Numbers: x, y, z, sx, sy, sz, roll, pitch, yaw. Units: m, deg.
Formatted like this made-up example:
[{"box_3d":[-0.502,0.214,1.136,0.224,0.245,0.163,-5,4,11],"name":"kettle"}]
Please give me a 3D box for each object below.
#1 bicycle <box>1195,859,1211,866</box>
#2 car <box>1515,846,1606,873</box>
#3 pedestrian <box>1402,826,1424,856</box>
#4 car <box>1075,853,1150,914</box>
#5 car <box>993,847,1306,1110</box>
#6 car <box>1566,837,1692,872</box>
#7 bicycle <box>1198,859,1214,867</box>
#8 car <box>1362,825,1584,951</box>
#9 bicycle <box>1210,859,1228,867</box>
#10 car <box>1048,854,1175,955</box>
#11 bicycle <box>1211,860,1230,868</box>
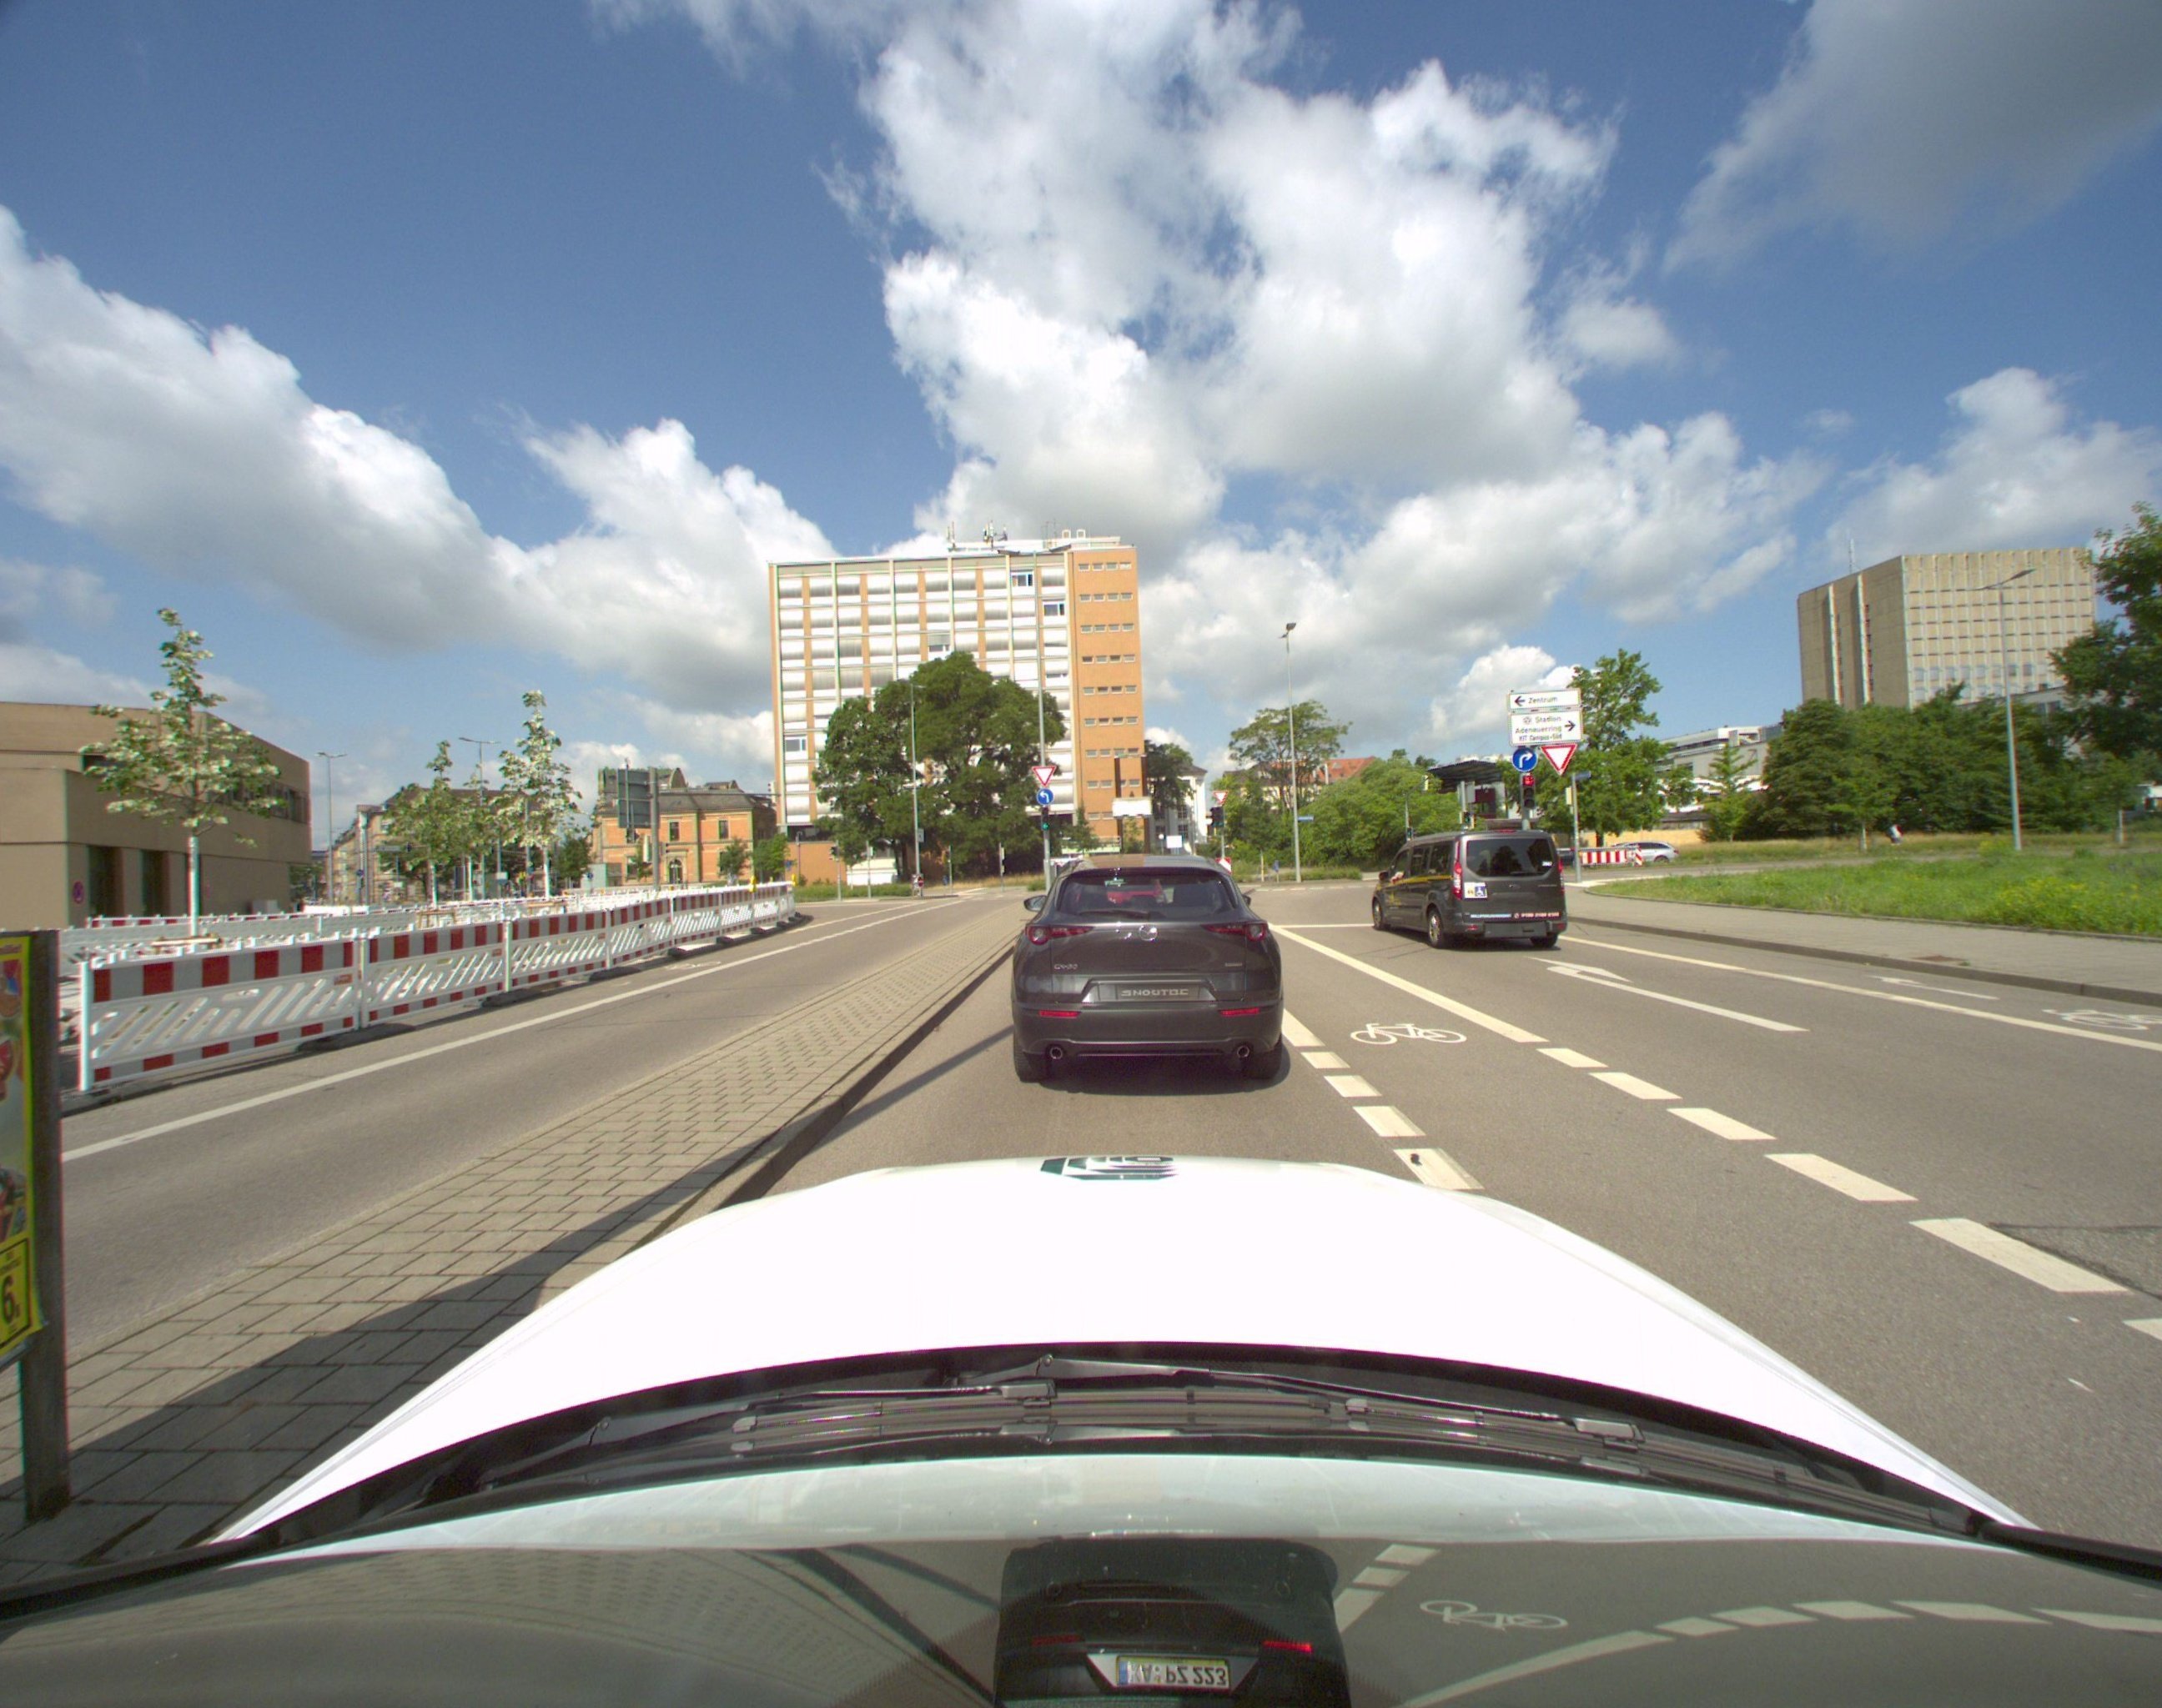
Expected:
[{"box_3d":[17.255,1.241,115.183,2.048,0.936,0.804,-3,-1,1],"name":"bicycle"},{"box_3d":[28.199,0.315,47.977,4.128,1.377,2.002,-3,0,4],"name":"car"},{"box_3d":[21.099,-0.801,51.787,0.696,1.857,1.177,-3,-1,-8],"name":"pedestrian"},{"box_3d":[0.913,0.764,22.865,1.840,1.472,4.338,-3,-1,3],"name":"car"},{"box_3d":[0.459,0.722,6.798,1.799,1.508,4.206,0,0,2],"name":"car"},{"box_3d":[27.372,0.059,40.829,4.739,1.442,2.066,-3,-3,6],"name":"car"},{"box_3d":[16.980,1.205,110.327,2.048,0.936,0.804,-3,-1,1],"name":"bicycle"},{"box_3d":[6.438,0.496,14.063,1.840,1.785,4.677,-1,0,4],"name":"car"},{"box_3d":[17.283,1.135,102.118,2.048,0.936,0.804,-3,-1,1],"name":"bicycle"},{"box_3d":[0.568,0.747,13.704,1.808,1.439,4.071,0,-1,4],"name":"car"},{"box_3d":[16.810,1.203,98.129,2.048,0.936,0.804,-3,-1,1],"name":"bicycle"}]
